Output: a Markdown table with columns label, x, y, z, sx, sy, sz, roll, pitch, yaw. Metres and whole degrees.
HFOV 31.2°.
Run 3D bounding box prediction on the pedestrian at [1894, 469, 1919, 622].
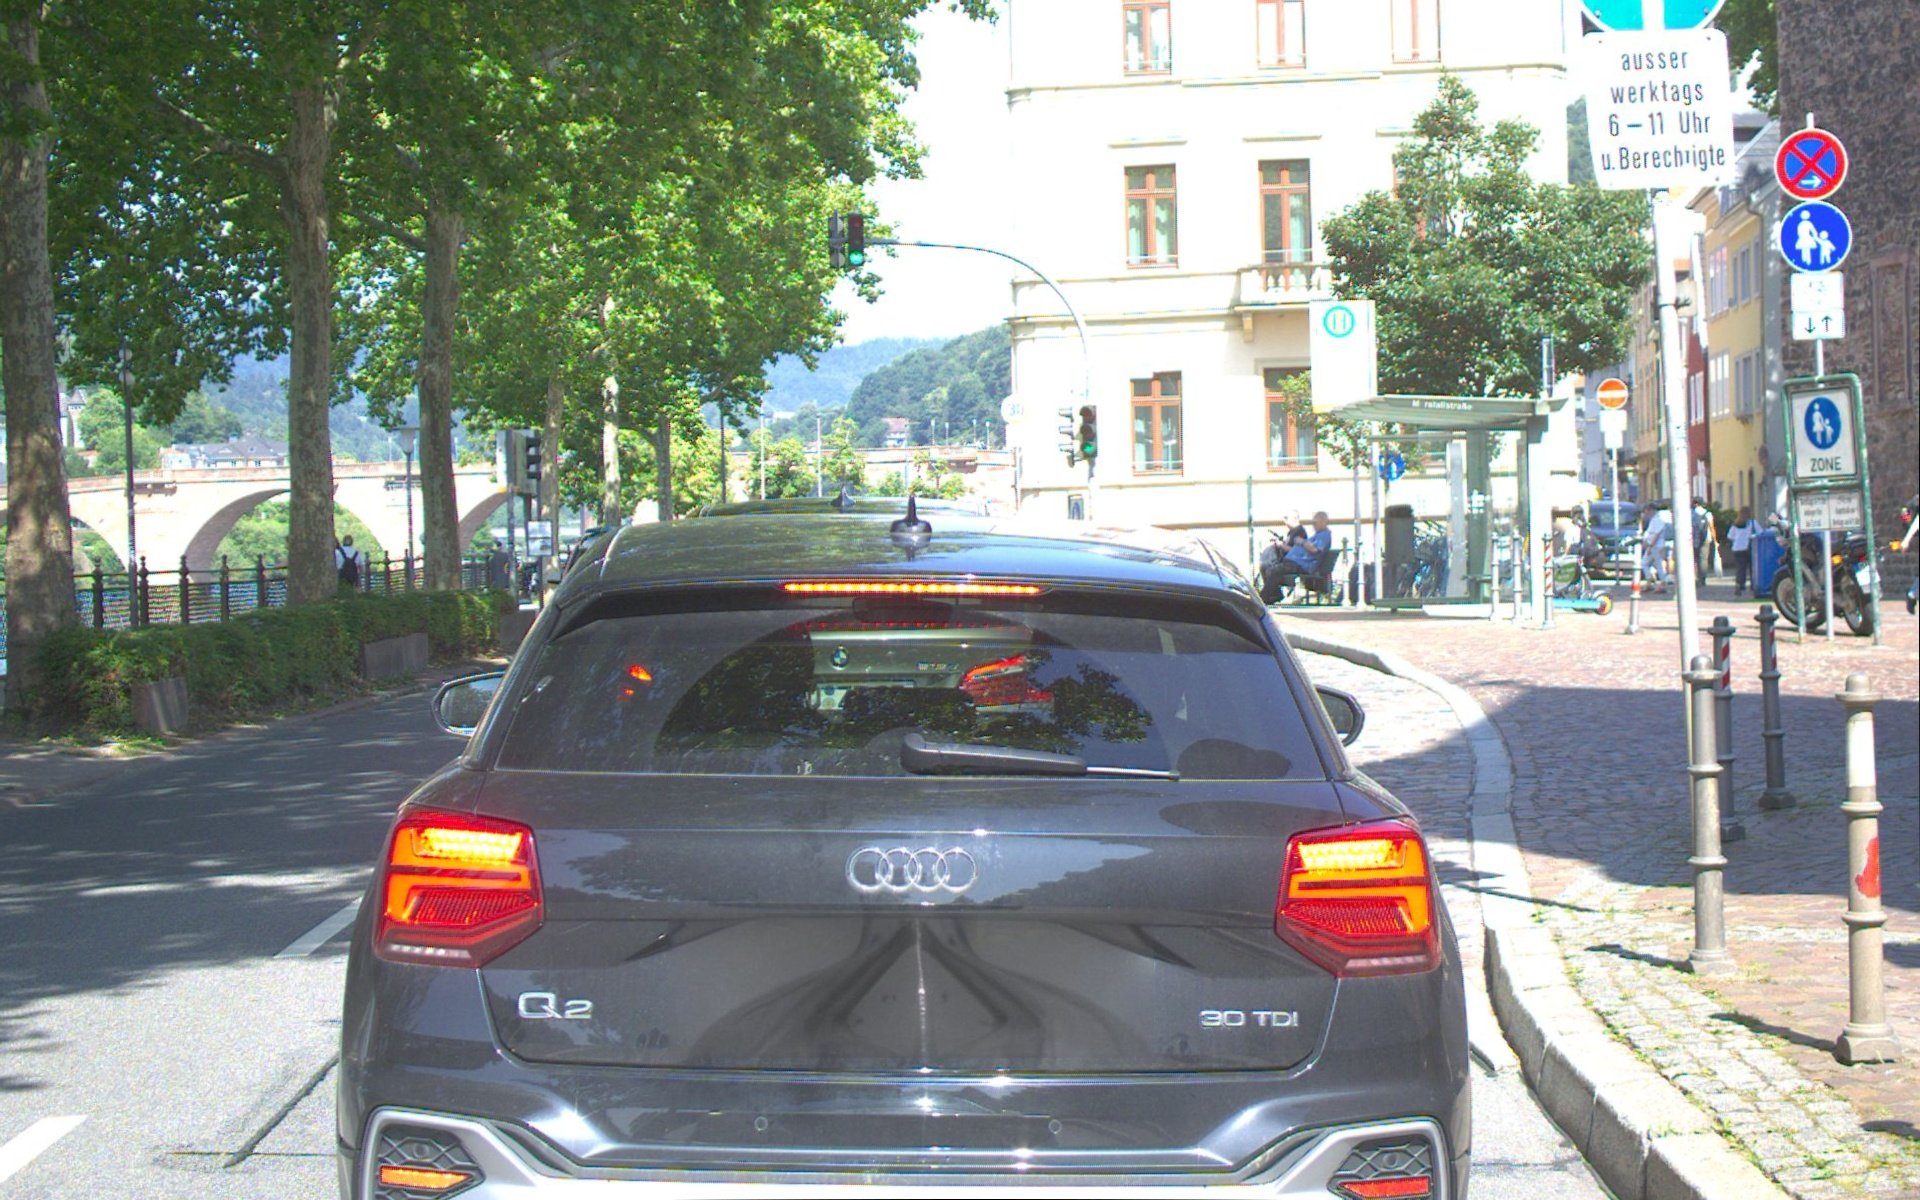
| label | x | y | z | sx | sy | sz | roll | pitch | yaw |
| --- | --- | --- | --- | --- | --- | --- | --- | --- | --- |
| pedestrian | 10.716 | -0.607 | 37.684 | 0.808 | 1.656 | 0.655 | -1 | 1 | 23 |

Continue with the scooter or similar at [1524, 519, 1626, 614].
| label | x | y | z | sx | sy | sz | roll | pitch | yaw |
| --- | --- | --- | --- | --- | --- | --- | --- | --- | --- |
| scooter or similar | 7.039 | -0.381 | 39.362 | 1.088 | 1.062 | 0.323 | 1 | 0 | -2 |

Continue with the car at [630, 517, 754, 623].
| label | x | y | z | sx | sy | sz | roll | pitch | yaw |
| --- | --- | --- | --- | --- | --- | --- | --- | --- | --- |
| car | -4.545 | -0.534 | 58.808 | 1.769 | 1.654 | 4.000 | -3 | 1 | 0 |

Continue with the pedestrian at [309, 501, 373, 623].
| label | x | y | z | sx | sy | sz | roll | pitch | yaw |
| --- | --- | --- | --- | --- | --- | --- | --- | --- | --- |
| pedestrian | -10.311 | -0.627 | 57.263 | 0.911 | 2.007 | 0.585 | 1 | 0 | 4 |

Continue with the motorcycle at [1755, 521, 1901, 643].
| label | x | y | z | sx | sy | sz | roll | pitch | yaw |
| --- | --- | --- | --- | --- | --- | --- | --- | --- | --- |
| motorcycle | 7.594 | -0.180 | 30.184 | 0.566 | 1.009 | 2.490 | -1 | 1 | -2 |

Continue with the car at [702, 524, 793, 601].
| label | x | y | z | sx | sy | sz | roll | pitch | yaw |
| --- | --- | --- | --- | --- | --- | --- | --- | --- | --- |
| car | -4.792 | -0.877 | 77.868 | 1.738 | 1.566 | 4.092 | -4 | 1 | 0 |

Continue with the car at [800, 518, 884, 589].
| label | x | y | z | sx | sy | sz | roll | pitch | yaw |
| --- | --- | --- | --- | --- | --- | --- | --- | --- | --- |
| car | -3.071 | -1.227 | 90.473 | 1.993 | 1.800 | 4.000 | 1 | 0 | 1 |

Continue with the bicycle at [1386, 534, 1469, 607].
| label | x | y | z | sx | sy | sz | roll | pitch | yaw |
| --- | --- | --- | --- | --- | --- | --- | --- | --- | --- |
| bicycle | 6.660 | -0.421 | 48.956 | 1.201 | 1.031 | 0.179 | 1 | 0 | -19 |

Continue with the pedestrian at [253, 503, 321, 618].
| label | x | y | z | sx | sy | sz | roll | pitch | yaw |
| --- | --- | --- | --- | --- | --- | --- | --- | --- | --- |
| pedestrian | -10.742 | -0.627 | 54.901 | 0.911 | 1.805 | 0.585 | 1 | -1 | 4 |

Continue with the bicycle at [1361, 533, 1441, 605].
| label | x | y | z | sx | sy | sz | roll | pitch | yaw |
| --- | --- | --- | --- | --- | --- | --- | --- | --- | --- |
| bicycle | 6.360 | -0.446 | 49.569 | 1.184 | 1.012 | 0.179 | 1 | 0 | -19 |

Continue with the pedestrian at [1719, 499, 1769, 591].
| label | x | y | z | sx | sy | sz | roll | pitch | yaw |
| --- | --- | --- | --- | --- | --- | --- | --- | --- | --- |
| pedestrian | 14.120 | -0.990 | 61.939 | 0.691 | 1.607 | 0.890 | -2 | 1 | 22 |

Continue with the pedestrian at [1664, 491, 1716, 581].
| label | x | y | z | sx | sy | sz | roll | pitch | yaw |
| --- | --- | --- | --- | --- | --- | --- | --- | --- | --- |
| pedestrian | 13.382 | -1.172 | 63.049 | 0.776 | 1.616 | 0.645 | -2 | 1 | 2 |

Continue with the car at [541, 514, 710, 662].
| label | x | y | z | sx | sy | sz | roll | pitch | yaw |
| --- | --- | --- | --- | --- | --- | --- | --- | --- | --- |
| car | -4.128 | -0.188 | 42.999 | 1.673 | 1.654 | 4.223 | -4 | 1 | -1 |

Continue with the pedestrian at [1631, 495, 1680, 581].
| label | x | y | z | sx | sy | sz | roll | pitch | yaw |
| --- | --- | --- | --- | --- | --- | --- | --- | --- | --- |
| pedestrian | 12.956 | -1.155 | 64.042 | 0.776 | 1.559 | 0.645 | -2 | 1 | 5 |

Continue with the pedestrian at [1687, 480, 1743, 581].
| label | x | y | z | sx | sy | sz | roll | pitch | yaw |
| --- | --- | --- | --- | --- | --- | --- | --- | --- | --- |
| pedestrian | 15.058 | -1.381 | 68.584 | 0.940 | 2.007 | 0.807 | 1 | 0 | 2 |

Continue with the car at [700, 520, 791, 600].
| label | x | y | z | sx | sy | sz | roll | pitch | yaw |
| --- | --- | --- | --- | --- | --- | --- | --- | --- | --- |
| car | -5.239 | -0.999 | 84.369 | 1.813 | 1.719 | 4.422 | -6 | 1 | 0 |

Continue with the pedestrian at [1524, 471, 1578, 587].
| label | x | y | z | sx | sy | sz | roll | pitch | yaw |
| --- | --- | --- | --- | --- | --- | --- | --- | --- | --- |
| pedestrian | 9.679 | -1.164 | 56.343 | 0.747 | 1.884 | 0.752 | 1 | 0 | 2 |

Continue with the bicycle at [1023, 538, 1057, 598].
| label | x | y | z | sx | sy | sz | roll | pitch | yaw |
| --- | --- | --- | --- | --- | --- | --- | --- | --- | --- |
| bicycle | 1.450 | -0.587 | 62.648 | 0.437 | 1.082 | 1.677 | 1 | 0 | -5 |

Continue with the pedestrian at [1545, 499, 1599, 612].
| label | x | y | z | sx | sy | sz | roll | pitch | yaw |
| --- | --- | --- | --- | --- | --- | --- | --- | --- | --- |
| pedestrian | 7.569 | -0.547 | 42.516 | 0.557 | 1.380 | 0.588 | 1 | 0 | 2 |

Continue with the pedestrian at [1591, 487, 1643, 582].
| label | x | y | z | sx | sy | sz | roll | pitch | yaw |
| --- | --- | --- | --- | --- | --- | --- | --- | --- | --- |
| pedestrian | 14.140 | -1.405 | 74.015 | 0.944 | 2.007 | 0.807 | 1 | 0 | 0 |

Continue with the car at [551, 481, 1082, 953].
| label | x | y | z | sx | sy | sz | roll | pitch | yaw |
| --- | --- | --- | --- | --- | --- | --- | --- | --- | --- |
| car | -0.512 | 0.366 | 13.463 | 1.793 | 1.589 | 3.399 | 1 | 1 | -1 |

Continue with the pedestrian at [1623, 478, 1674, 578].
| label | x | y | z | sx | sy | sz | roll | pitch | yaw |
| --- | --- | --- | --- | --- | --- | --- | --- | --- | --- |
| pedestrian | 13.859 | -1.444 | 69.190 | 0.839 | 2.007 | 0.738 | 1 | 0 | 0 |

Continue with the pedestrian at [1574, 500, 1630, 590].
| label | x | y | z | sx | sy | sz | roll | pitch | yaw |
| --- | --- | --- | --- | --- | --- | --- | --- | --- | --- |
| pedestrian | 10.541 | -0.900 | 56.445 | 0.638 | 1.439 | 0.799 | -2 | 1 | -7 |

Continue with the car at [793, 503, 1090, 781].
| label | x | y | z | sx | sy | sz | roll | pitch | yaw |
| --- | --- | --- | --- | --- | --- | --- | --- | --- | --- |
| car | -0.128 | 0.202 | 21.704 | 1.710 | 1.603 | 3.655 | 0 | 1 | -1 |

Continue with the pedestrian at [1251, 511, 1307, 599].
| label | x | y | z | sx | sy | sz | roll | pitch | yaw |
| --- | --- | --- | --- | --- | --- | --- | --- | --- | --- |
| pedestrian | 4.542 | -0.636 | 48.920 | 0.663 | 1.227 | 0.641 | 1 | 0 | -6 |

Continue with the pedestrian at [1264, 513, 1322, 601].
| label | x | y | z | sx | sy | sz | roll | pitch | yaw |
| --- | --- | --- | --- | --- | --- | --- | --- | --- | --- |
| pedestrian | 4.662 | -0.602 | 48.152 | 0.663 | 1.207 | 0.641 | 1 | 0 | -6 |

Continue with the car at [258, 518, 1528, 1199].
| label | x | y | z | sx | sy | sz | roll | pitch | yaw |
| --- | --- | --- | --- | --- | --- | --- | --- | --- | --- |
| car | -0.119 | 0.613 | 6.587 | 1.743 | 1.504 | 3.647 | 1 | 1 | -1 |

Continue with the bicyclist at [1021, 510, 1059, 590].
| label | x | y | z | sx | sy | sz | roll | pitch | yaw |
| --- | --- | --- | --- | --- | --- | --- | --- | --- | --- |
| bicyclist | 1.458 | -0.914 | 62.585 | 0.605 | 1.445 | 0.591 | 1 | 0 | -5 |

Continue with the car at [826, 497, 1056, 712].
| label | x | y | z | sx | sy | sz | roll | pitch | yaw |
| --- | --- | --- | --- | --- | --- | --- | --- | --- | --- |
| car | -0.173 | -0.008 | 29.077 | 1.794 | 1.676 | 4.000 | 1 | 1 | -1 |
